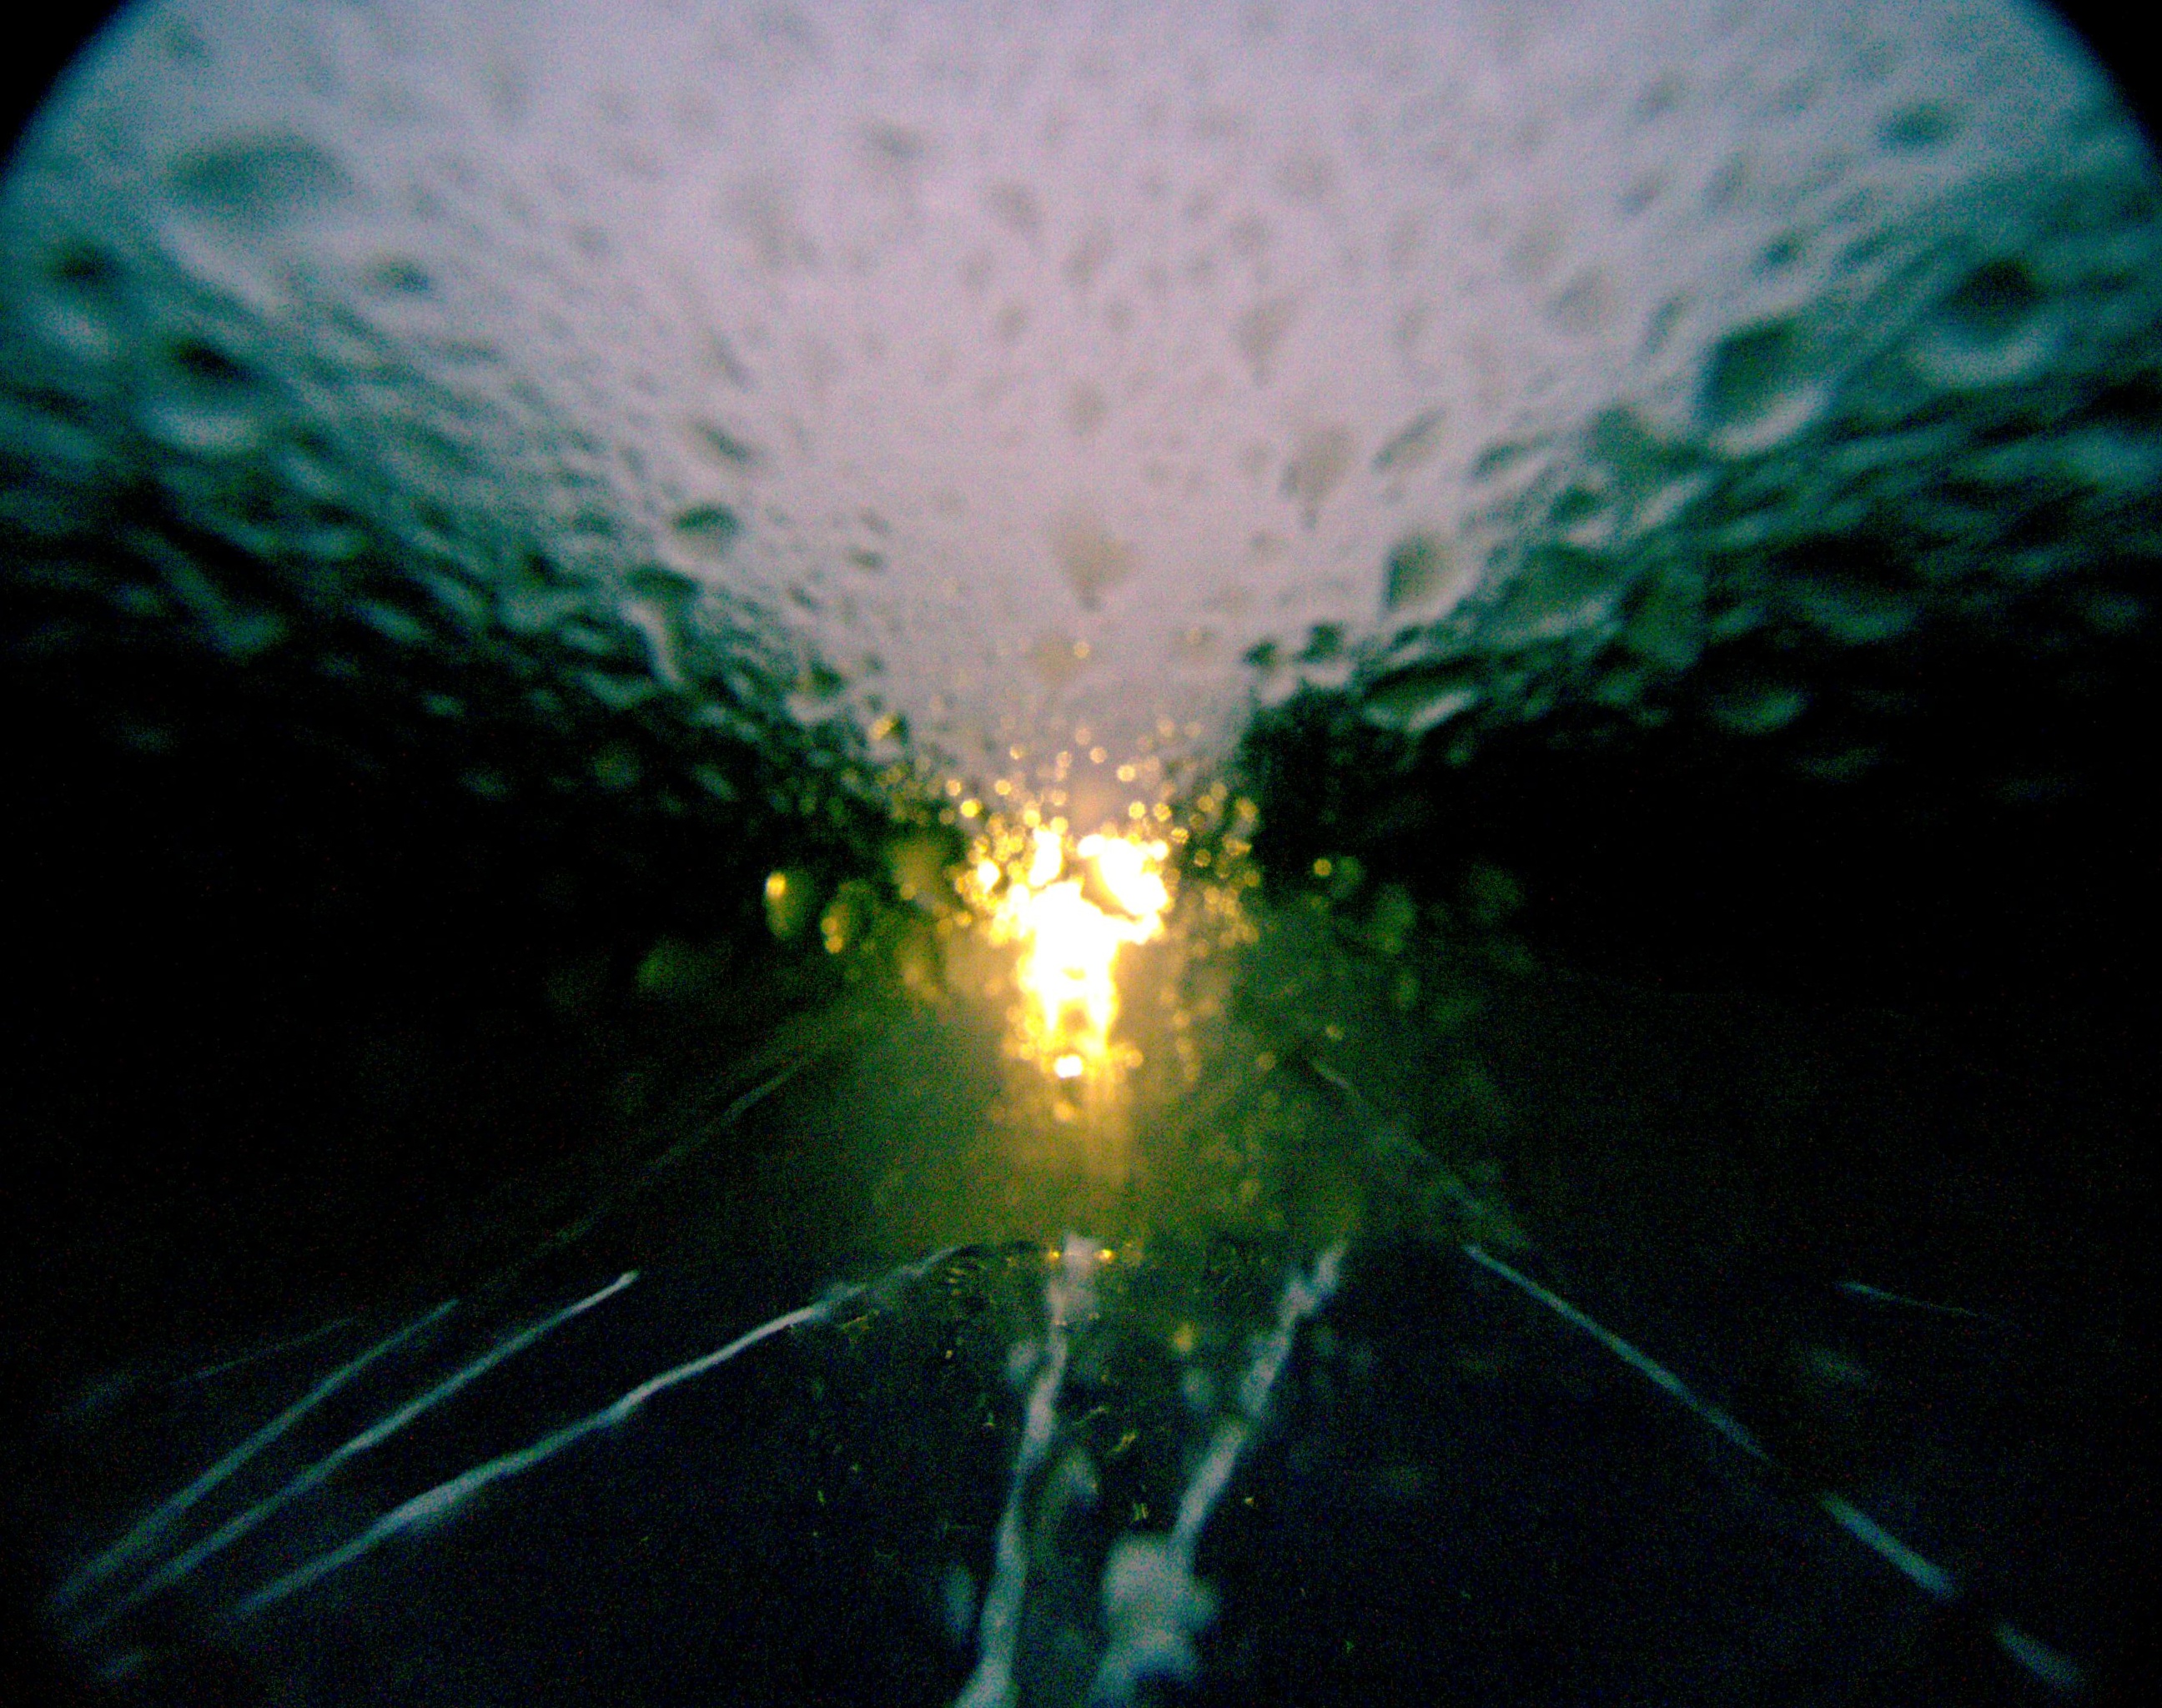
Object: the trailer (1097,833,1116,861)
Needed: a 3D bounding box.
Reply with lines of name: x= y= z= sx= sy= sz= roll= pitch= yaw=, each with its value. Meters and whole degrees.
trailer: x=4.177 y=-1.196 z=127.502 sx=2.677 sy=4.432 sz=12.240 roll=-2 pitch=0 yaw=0
